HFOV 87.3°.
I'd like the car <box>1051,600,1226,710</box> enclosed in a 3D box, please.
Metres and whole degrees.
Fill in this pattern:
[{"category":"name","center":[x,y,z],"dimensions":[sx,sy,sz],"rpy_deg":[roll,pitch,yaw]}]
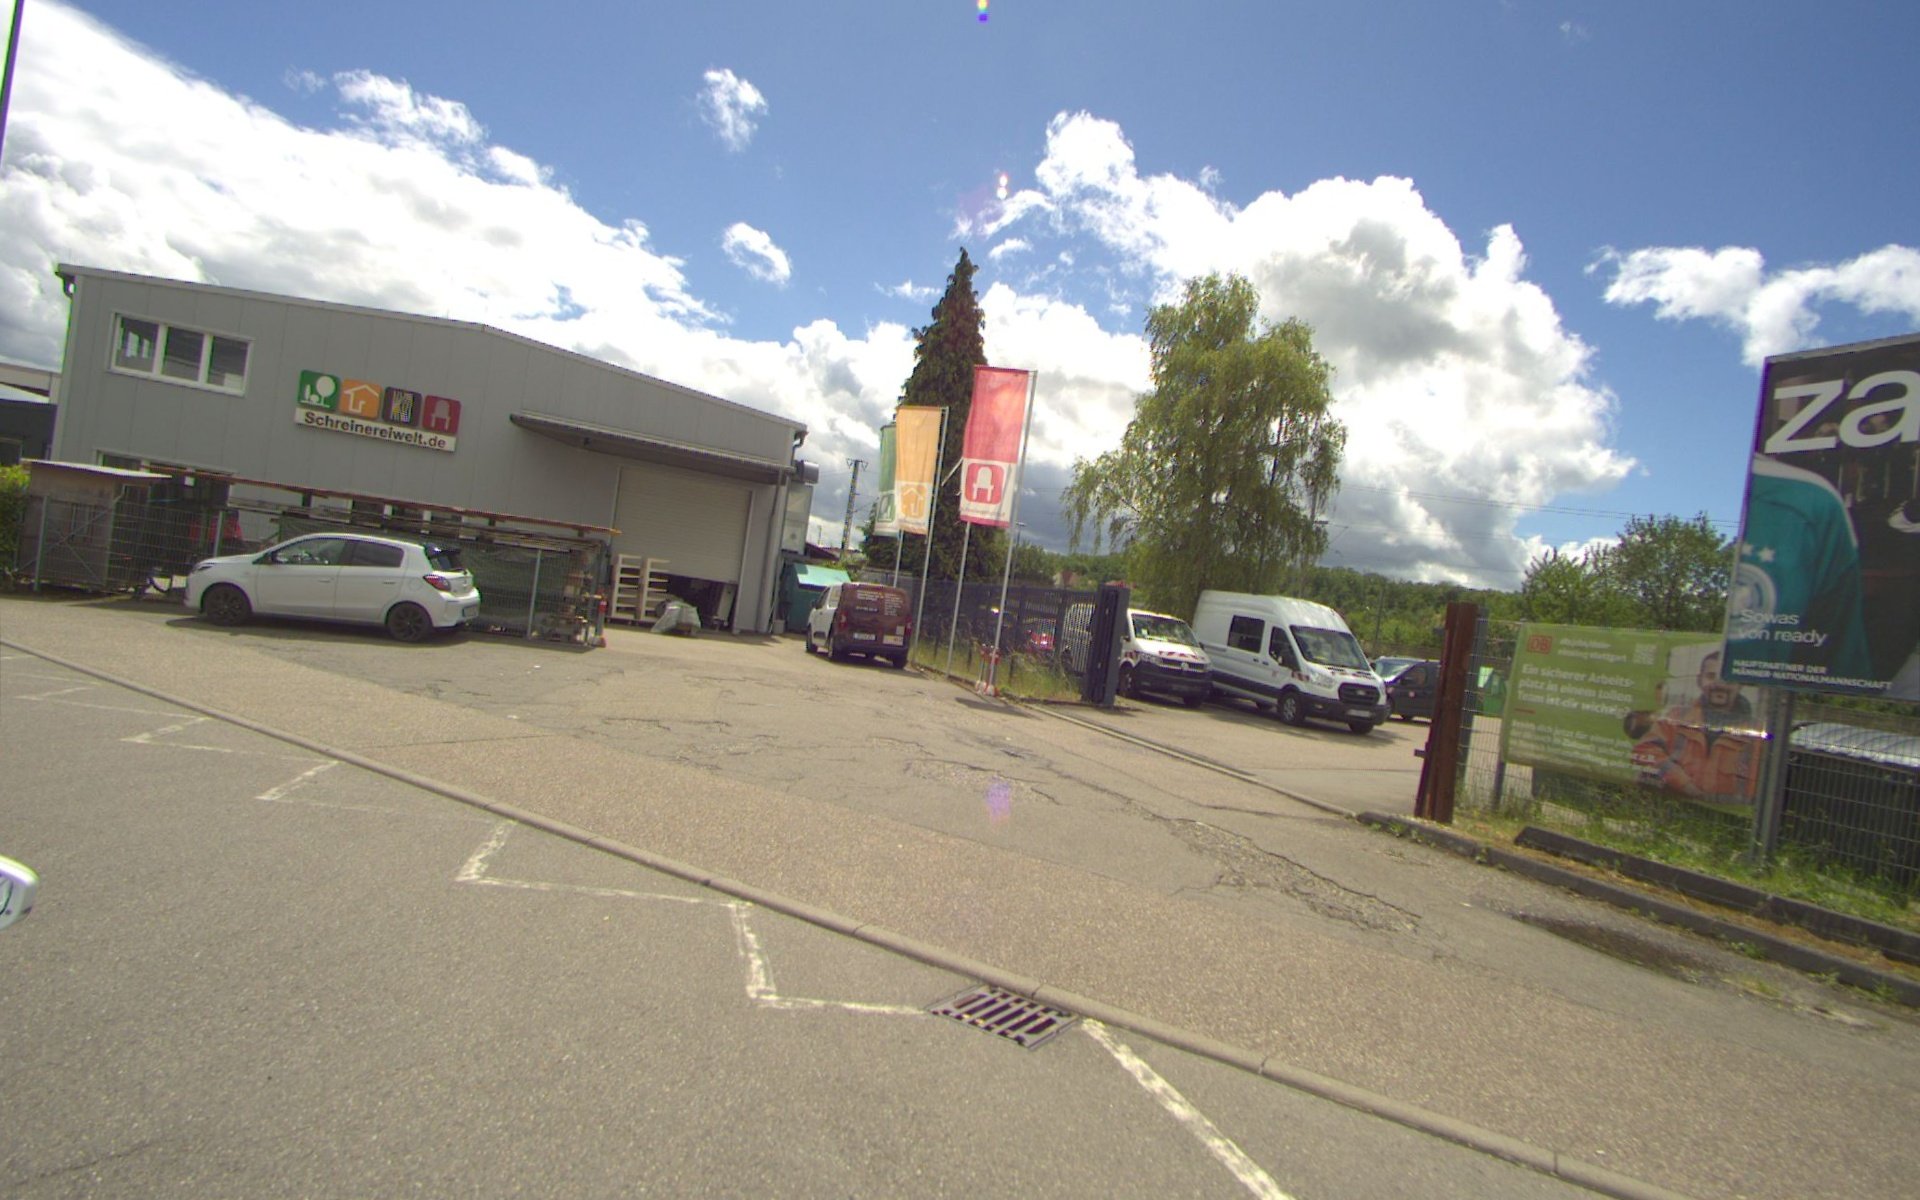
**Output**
[{"category":"car","center":[4.001,1.177,23.595],"dimensions":[1.807,2.006,5.080],"rpy_deg":[6,0,-16]}]

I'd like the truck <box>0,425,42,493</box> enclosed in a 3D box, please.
[{"category":"truck","center":[-67.703,-10.072,69.460],"dimensions":[2.956,4.107,8.447],"rpy_deg":[6,-2,-19]}]

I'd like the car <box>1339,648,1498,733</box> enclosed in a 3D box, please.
[{"category":"car","center":[13.063,2.577,28.687],"dimensions":[3.948,1.788,1.756],"rpy_deg":[9,-2,-22]}]

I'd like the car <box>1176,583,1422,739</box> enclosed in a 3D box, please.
[{"category":"car","center":[7.447,1.193,23.022],"dimensions":[2.035,2.880,5.954],"rpy_deg":[6,0,-16]}]

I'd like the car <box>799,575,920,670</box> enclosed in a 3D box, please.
[{"category":"car","center":[-2.510,0.463,24.104],"dimensions":[1.792,1.895,4.023],"rpy_deg":[6,0,-20]}]

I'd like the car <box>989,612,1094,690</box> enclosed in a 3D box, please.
[{"category":"car","center":[2.254,1.405,28.836],"dimensions":[1.565,1.809,3.817],"rpy_deg":[6,0,-16]}]

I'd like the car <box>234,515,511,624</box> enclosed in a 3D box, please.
[{"category":"car","center":[-10.775,-0.557,18.700],"dimensions":[4.003,1.525,1.684],"rpy_deg":[6,2,-8]}]

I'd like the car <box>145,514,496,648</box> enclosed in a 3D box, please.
[{"category":"car","center":[-9.380,-0.283,15.063],"dimensions":[4.003,1.482,1.721],"rpy_deg":[6,2,-8]}]
